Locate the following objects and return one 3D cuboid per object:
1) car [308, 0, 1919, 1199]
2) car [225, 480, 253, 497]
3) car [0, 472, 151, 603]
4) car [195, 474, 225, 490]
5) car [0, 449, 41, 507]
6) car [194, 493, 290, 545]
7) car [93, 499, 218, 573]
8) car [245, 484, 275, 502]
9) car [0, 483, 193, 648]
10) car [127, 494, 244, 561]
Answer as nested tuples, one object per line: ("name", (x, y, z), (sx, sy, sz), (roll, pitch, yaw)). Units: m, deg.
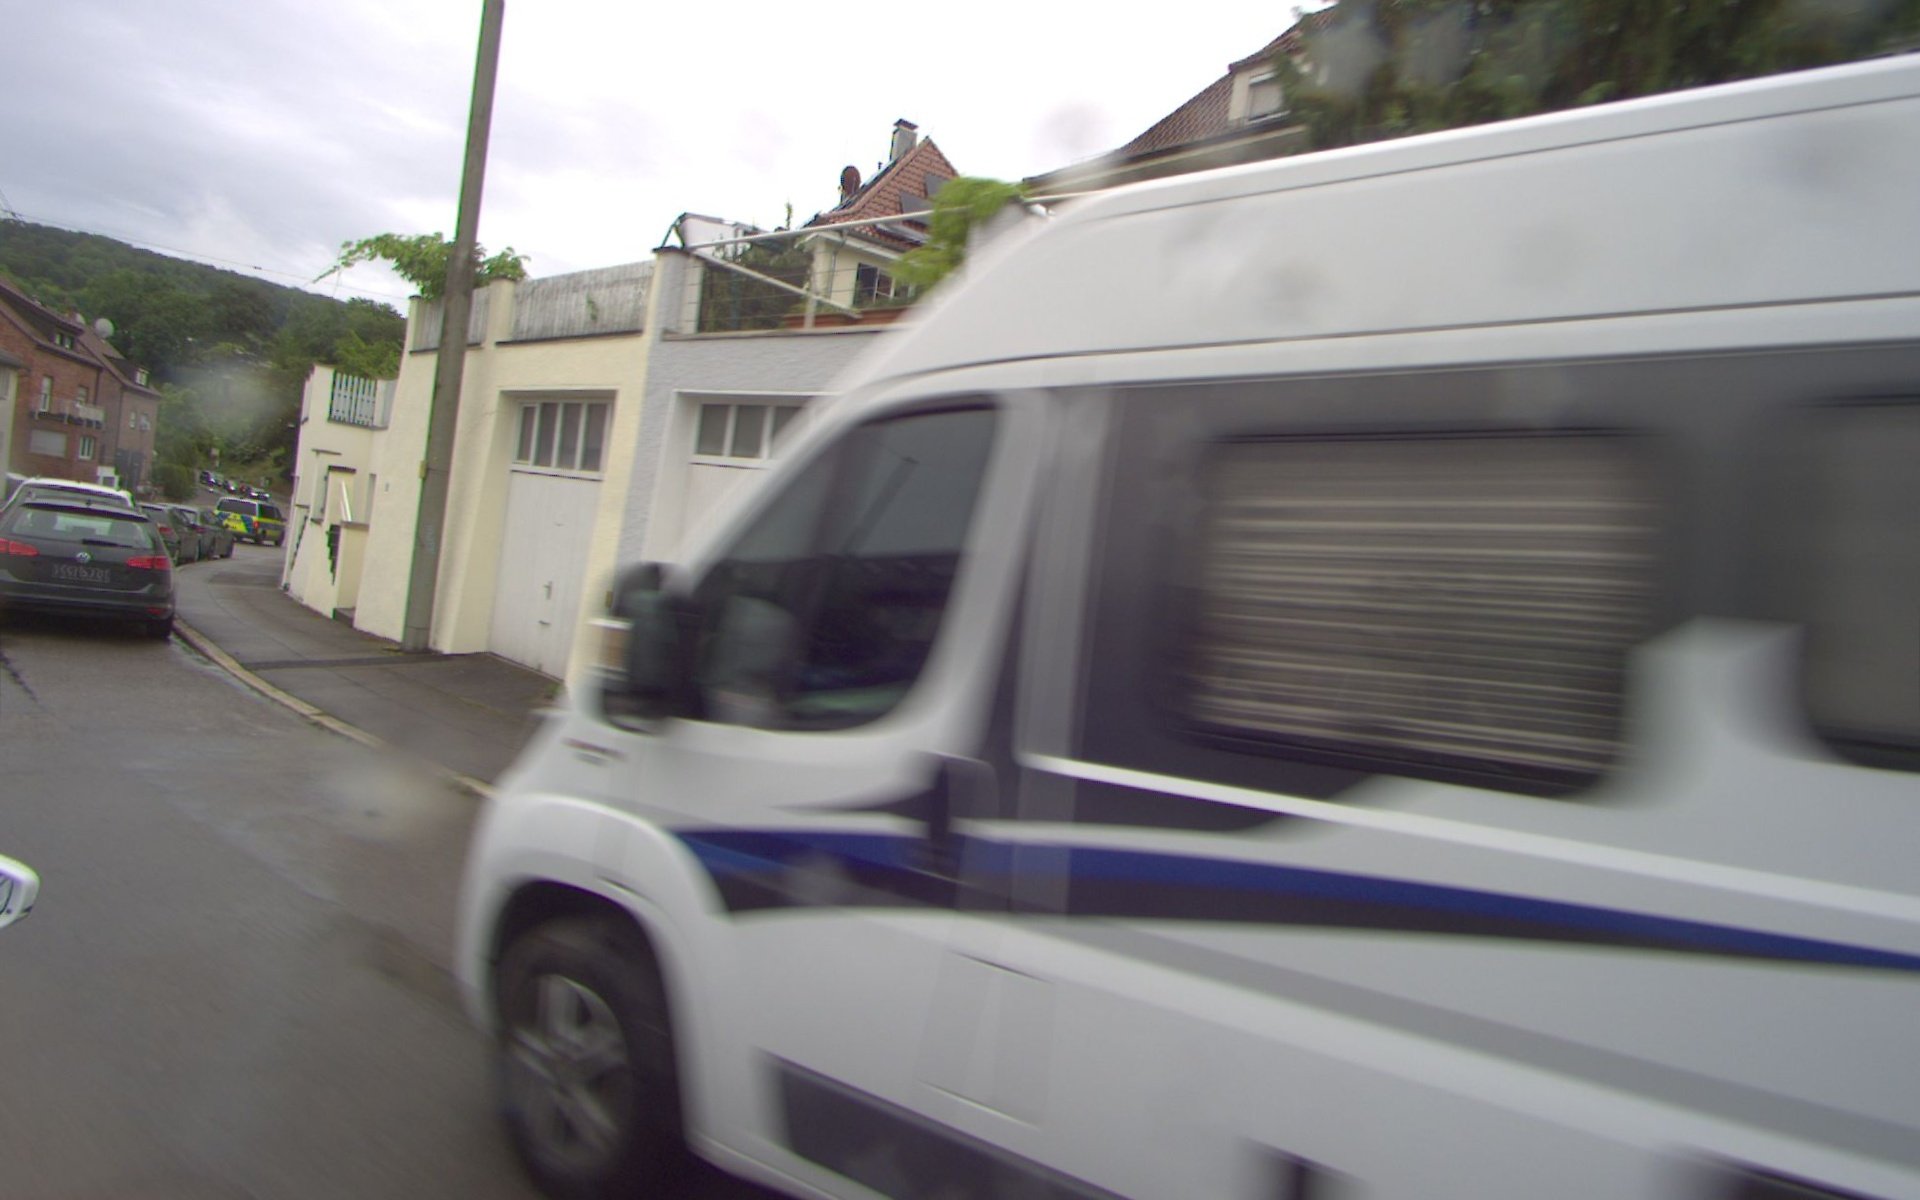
("car", (1.005, 0.391, 2.441), (5.527, 2.575, 2.100), (6, 1, 32))
("car", (-90.737, -14.063, 126.619), (3.937, 1.572, 1.738), (12, 6, 37))
("car", (-14.377, -1.047, 16.308), (1.796, 1.669, 4.164), (8, 0, -39))
("car", (-96.770, -15.172, 129.798), (3.933, 1.572, 1.741), (9, 5, 31))
("car", (-49.824, -6.484, 49.211), (6.596, 2.583, 2.155), (9, -2, -26))
("car", (-33.000, -3.677, 46.401), (2.284, 1.963, 4.304), (8, 1, -19))
("car", (-19.905, -1.607, 25.064), (1.629, 1.454, 4.140), (9, 0, -30))
("car", (-85.799, -13.148, 123.282), (3.937, 1.572, 1.739), (11, 5, 36))
("car", (-10.494, -0.487, 11.949), (1.674, 1.501, 4.150), (9, -2, -43))
("car", (-22.478, -2.074, 29.392), (1.775, 1.513, 4.672), (9, -1, -28))
